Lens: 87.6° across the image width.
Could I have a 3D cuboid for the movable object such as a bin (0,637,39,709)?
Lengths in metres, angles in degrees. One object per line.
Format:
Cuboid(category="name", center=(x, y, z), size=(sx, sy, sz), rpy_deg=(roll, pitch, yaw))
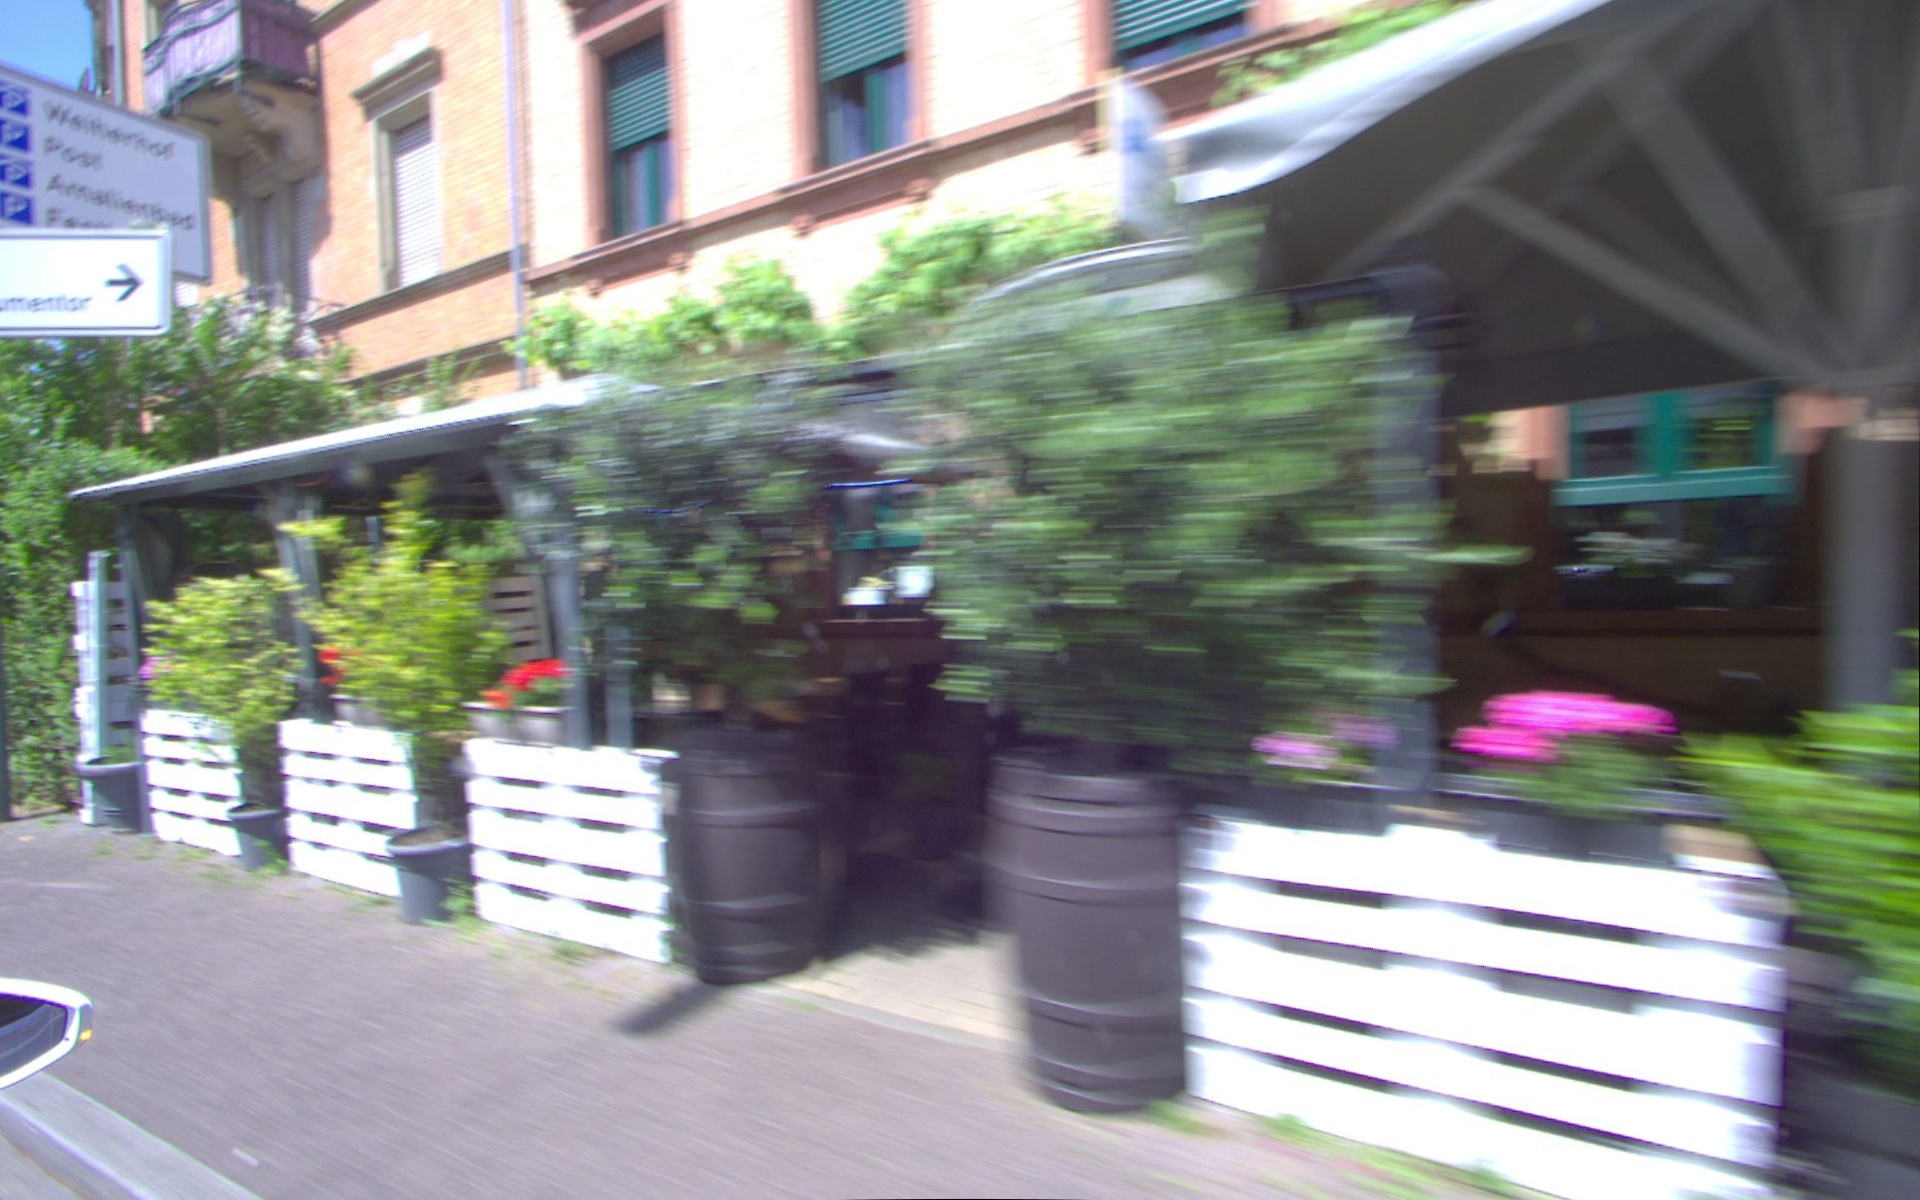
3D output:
Cuboid(category="movable object such as a bin", center=(-14.863, 1.132, 15.660), size=(0.697, 1.086, 0.572), rpy_deg=(0, 1, 41))
